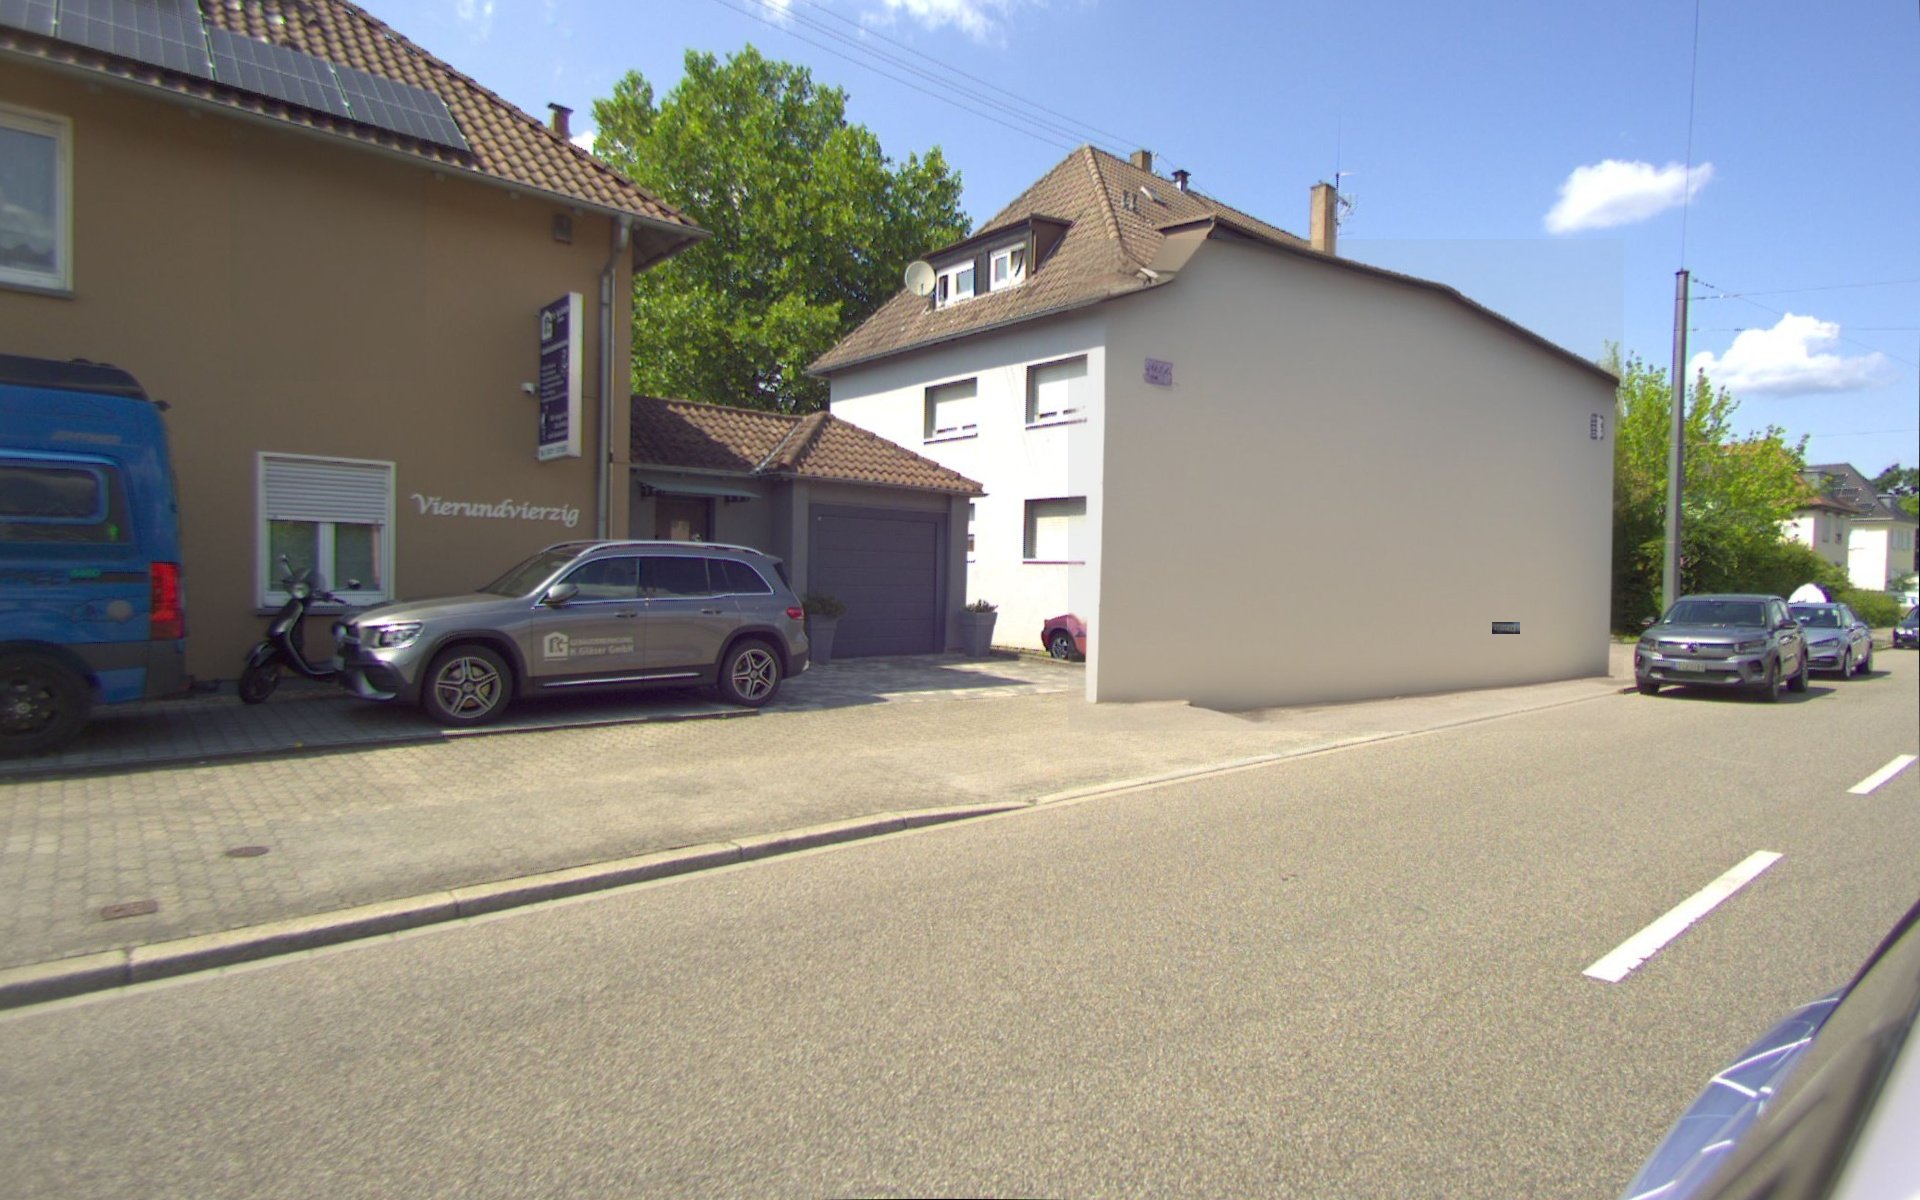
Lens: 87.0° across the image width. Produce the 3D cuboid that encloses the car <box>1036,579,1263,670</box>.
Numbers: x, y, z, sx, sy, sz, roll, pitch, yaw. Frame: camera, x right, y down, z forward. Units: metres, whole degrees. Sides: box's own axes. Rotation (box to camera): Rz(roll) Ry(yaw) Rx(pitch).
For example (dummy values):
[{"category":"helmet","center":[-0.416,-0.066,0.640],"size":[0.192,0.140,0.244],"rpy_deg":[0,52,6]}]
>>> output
[{"category":"car","center":[3.216,0.336,17.693],"size":[1.697,1.397,3.654],"rpy_deg":[-1,2,-42]}]

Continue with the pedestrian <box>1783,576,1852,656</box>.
[{"category":"pedestrian","center":[21.875,0.384,25.810],"size":[1.071,1.970,1.115],"rpy_deg":[-1,1,-37]}]

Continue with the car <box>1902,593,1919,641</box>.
[{"category":"car","center":[31.608,0.515,32.056],"size":[4.966,1.462,1.904],"rpy_deg":[0,0,-39]}]

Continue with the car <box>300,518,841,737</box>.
[{"category":"car","center":[-3.722,0.167,10.278],"size":[4.779,1.732,1.840],"rpy_deg":[0,3,-41]}]

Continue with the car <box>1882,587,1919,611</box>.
[{"category":"car","center":[63.744,0.010,66.448],"size":[1.730,1.479,4.465],"rpy_deg":[0,3,-36]}]

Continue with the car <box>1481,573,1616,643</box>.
[{"category":"car","center":[15.692,0.133,26.876],"size":[4.689,1.667,1.759],"rpy_deg":[-1,3,-43]}]

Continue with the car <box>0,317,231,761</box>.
[{"category":"car","center":[-8.478,-0.385,6.400],"size":[6.135,2.967,2.155],"rpy_deg":[-1,0,-40]}]

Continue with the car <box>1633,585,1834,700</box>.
[{"category":"car","center":[12.351,0.565,16.065],"size":[4.181,1.579,1.809],"rpy_deg":[-1,1,-42]}]

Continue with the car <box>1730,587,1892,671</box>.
[{"category":"car","center":[17.099,0.488,20.256],"size":[4.563,1.472,1.817],"rpy_deg":[-1,1,-41]}]

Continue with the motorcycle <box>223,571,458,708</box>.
[{"category":"motorcycle","center":[-6.211,0.356,10.219],"size":[1.933,1.248,0.693],"rpy_deg":[0,2,-41]}]

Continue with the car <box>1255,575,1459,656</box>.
[{"category":"car","center":[8.172,0.249,20.612],"size":[4.772,1.441,1.802],"rpy_deg":[0,2,-40]}]
